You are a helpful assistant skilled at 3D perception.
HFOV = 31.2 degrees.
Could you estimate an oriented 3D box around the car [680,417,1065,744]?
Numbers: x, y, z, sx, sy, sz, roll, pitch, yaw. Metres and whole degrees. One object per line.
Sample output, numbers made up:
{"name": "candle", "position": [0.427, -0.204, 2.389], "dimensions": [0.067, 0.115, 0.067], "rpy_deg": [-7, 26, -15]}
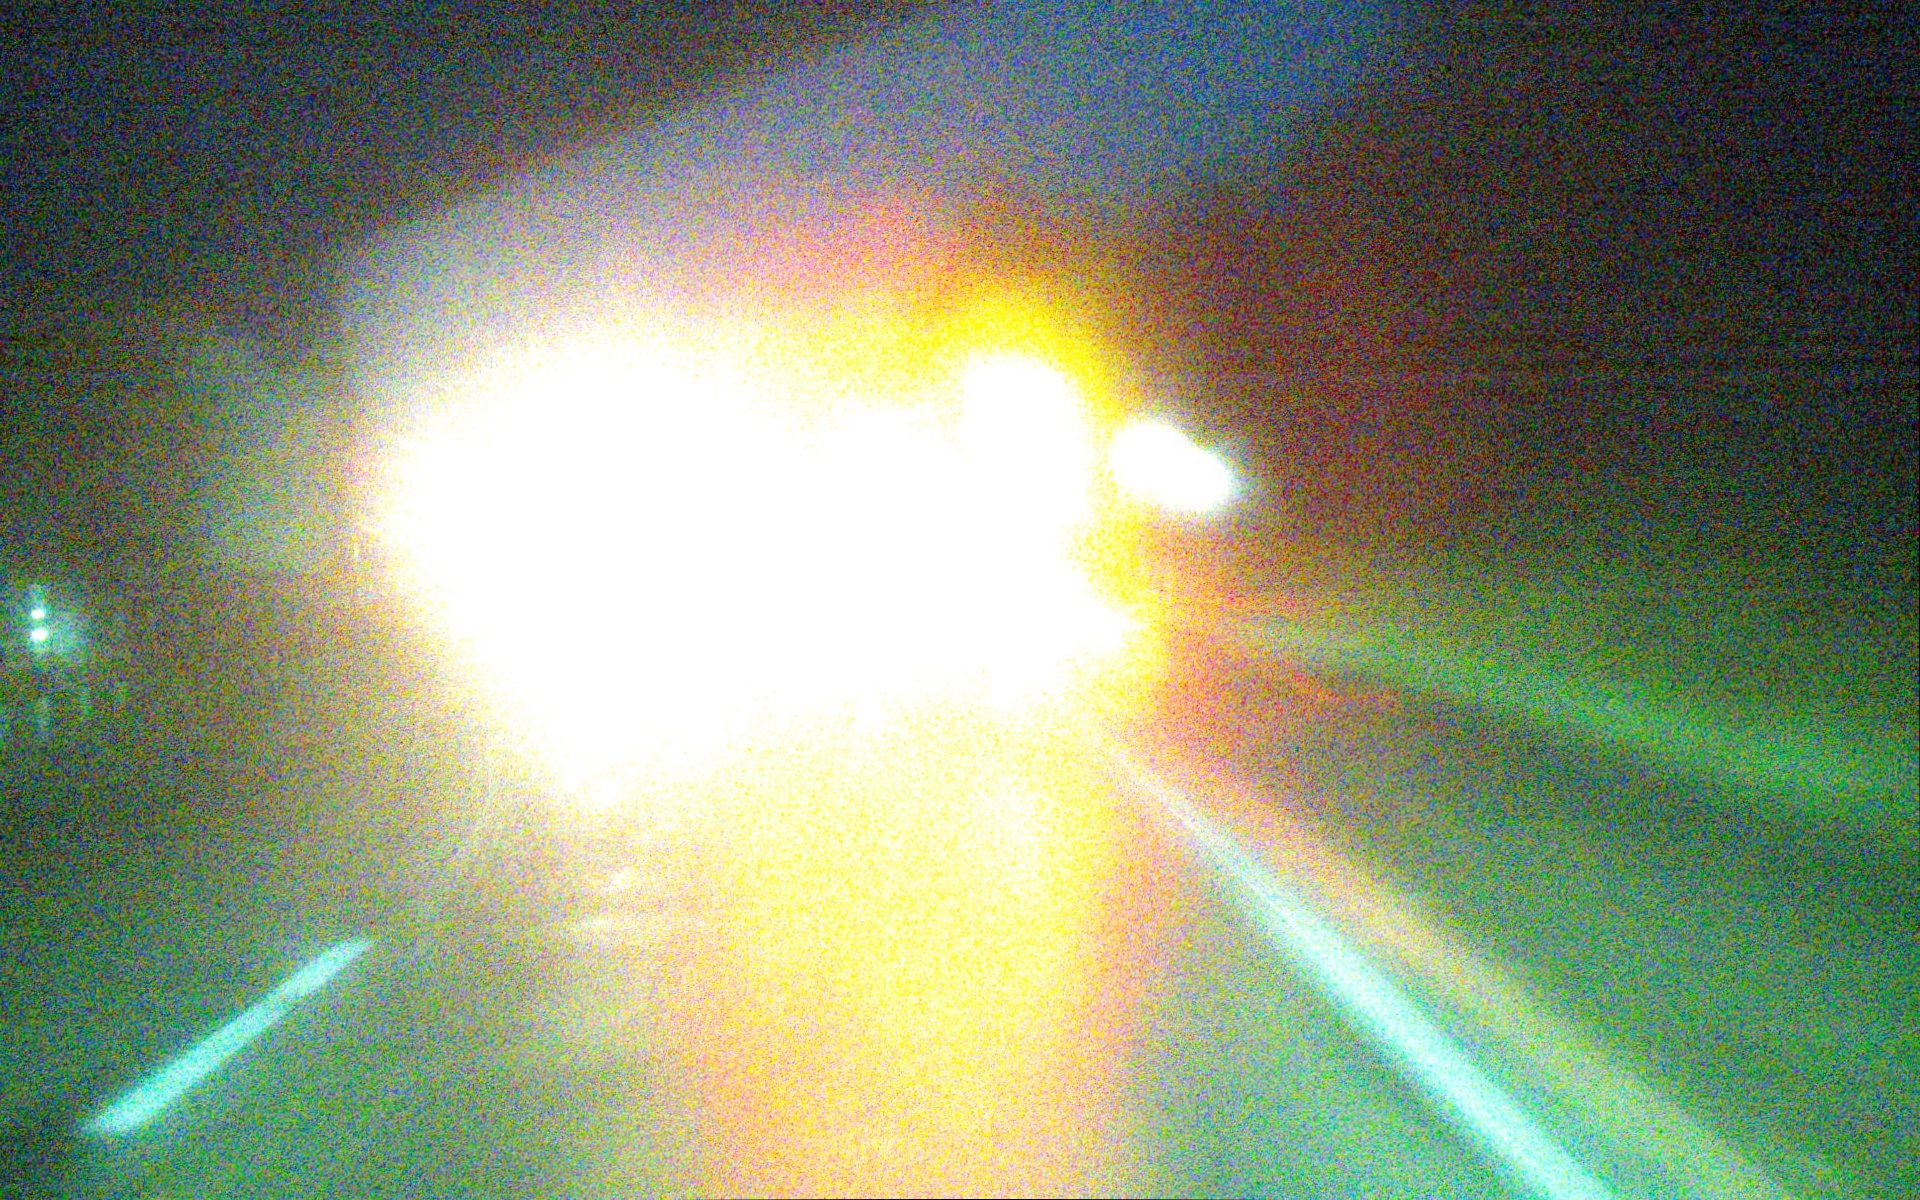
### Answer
{"name": "car", "position": [-0.713, -0.196, 27.356], "dimensions": [2.715, 2.299, 6.101], "rpy_deg": [0, 1, -2]}

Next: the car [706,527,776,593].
{"name": "car", "position": [-6.634, -1.213, 104.340], "dimensions": [1.993, 1.908, 4.001], "rpy_deg": [2, 1, -3]}
